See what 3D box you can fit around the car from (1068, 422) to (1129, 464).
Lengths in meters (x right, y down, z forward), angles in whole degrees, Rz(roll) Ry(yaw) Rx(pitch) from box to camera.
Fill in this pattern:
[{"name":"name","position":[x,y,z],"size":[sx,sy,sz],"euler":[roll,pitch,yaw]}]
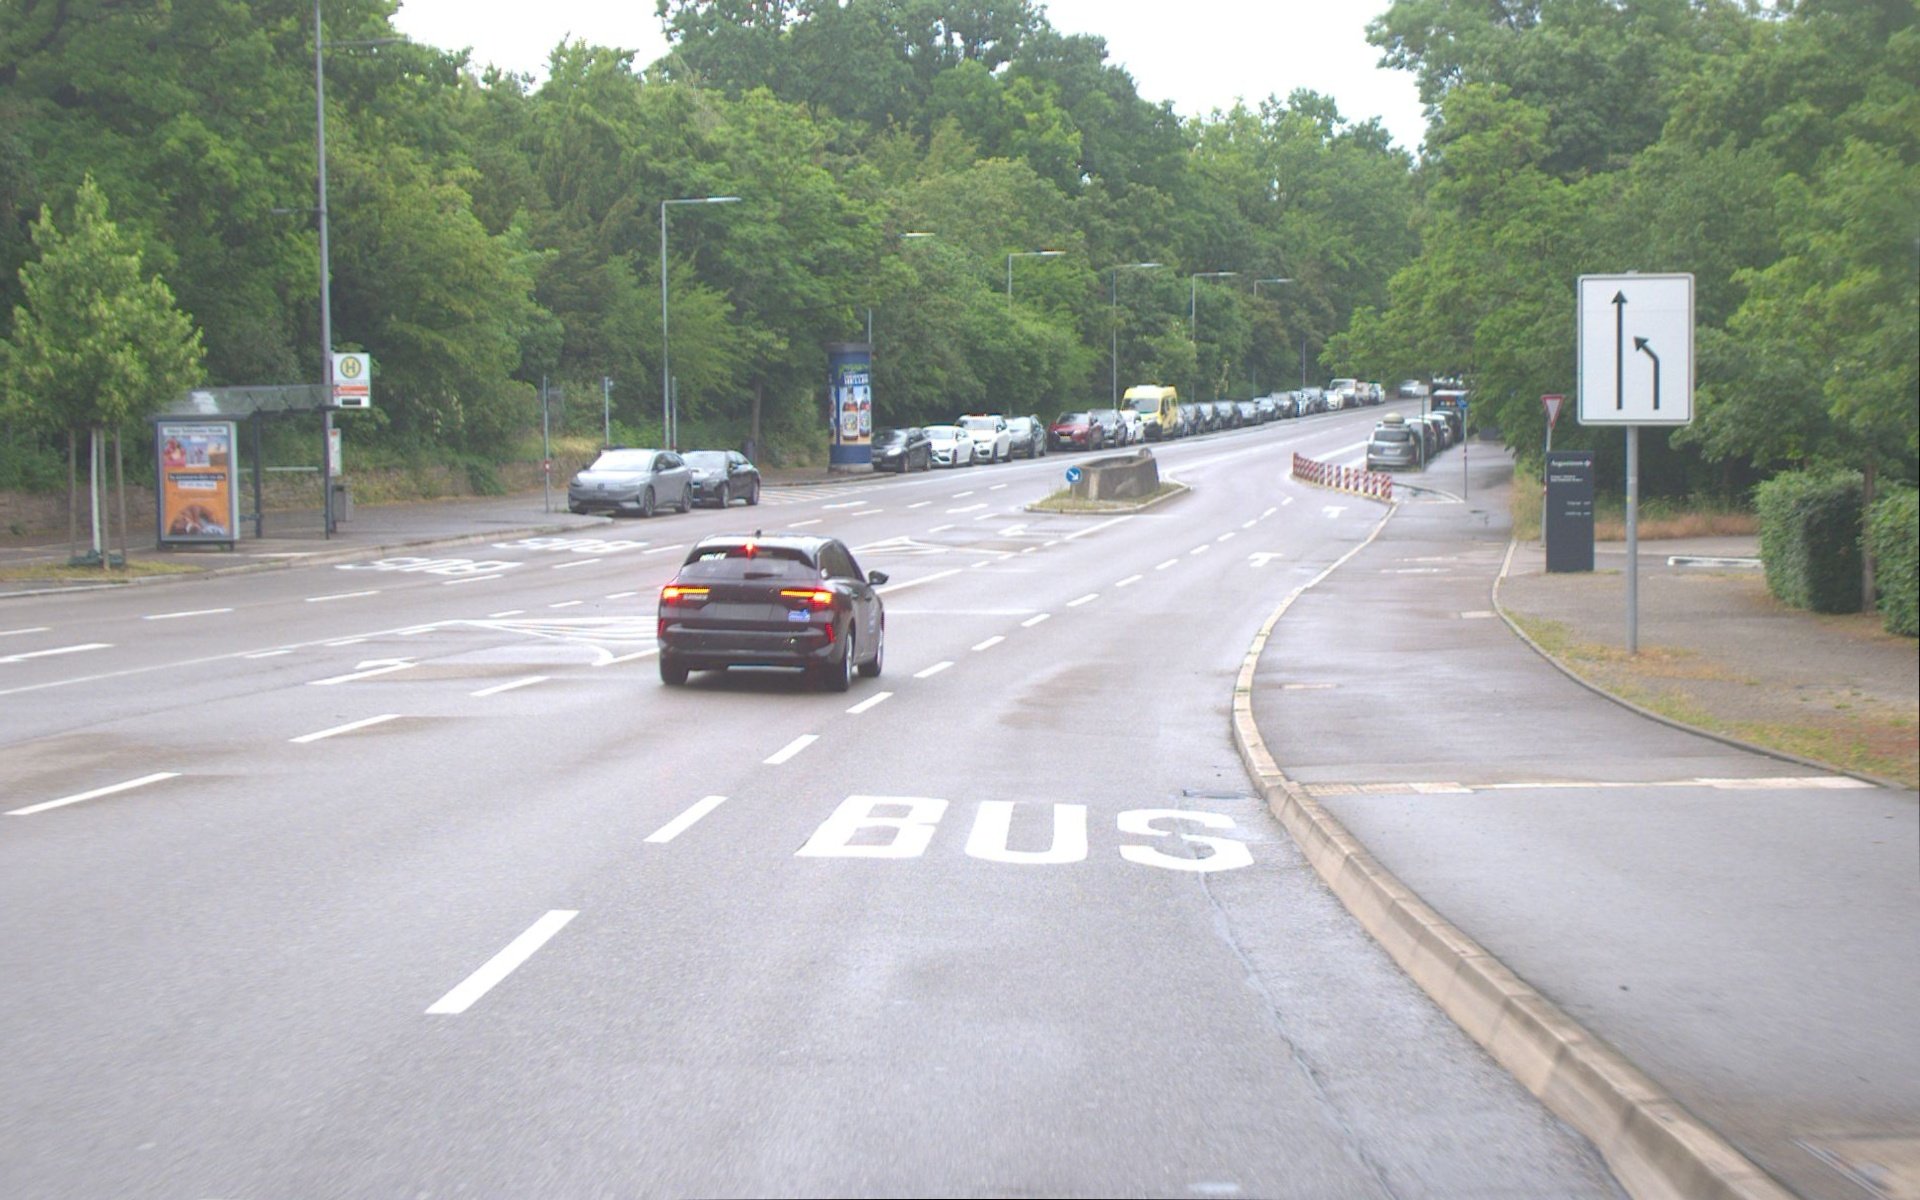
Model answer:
[{"name":"car","position":[6.082,-6.903,150.585],"size":[1.994,1.694,4.614],"euler":[1,4,11]}]

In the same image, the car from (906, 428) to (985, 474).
[{"name":"car","position":[-0.494,-5.259,120.761],"size":[1.719,1.455,4.706],"euler":[2,4,13]}]

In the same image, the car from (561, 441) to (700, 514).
[{"name":"car","position":[-7.735,-2.909,81.088],"size":[1.842,1.583,4.927],"euler":[3,3,12]}]

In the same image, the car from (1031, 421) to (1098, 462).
[{"name":"car","position":[4.403,-6.680,144.398],"size":[1.920,1.611,4.488],"euler":[1,4,13]}]

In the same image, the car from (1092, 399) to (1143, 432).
[{"name":"car","position":[7.139,-8.341,155.488],"size":[1.618,1.443,3.655],"euler":[0,4,13]}]

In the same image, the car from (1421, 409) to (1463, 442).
[{"name":"car","position":[22.846,-8.261,162.799],"size":[1.823,1.480,4.198],"euler":[0,2,10]}]

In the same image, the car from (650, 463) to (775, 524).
[{"name":"car","position":[-6.265,-2.731,87.511],"size":[1.907,1.409,4.781],"euler":[3,3,12]}]

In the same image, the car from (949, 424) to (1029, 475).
[{"name":"car","position":[1.096,-5.592,127.181],"size":[1.995,1.759,4.958],"euler":[2,4,12]}]

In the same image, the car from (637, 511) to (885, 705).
[{"name":"car","position":[-1.848,0.024,33.032],"size":[1.881,1.460,4.001],"euler":[3,5,3]}]

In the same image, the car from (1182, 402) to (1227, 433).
[{"name":"car","position":[12.689,-9.485,178.266],"size":[1.604,1.504,3.975],"euler":[2,4,14]}]

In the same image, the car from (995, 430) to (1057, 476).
[{"name":"car","position":[2.599,-5.751,134.526],"size":[1.732,1.643,4.570],"euler":[2,4,10]}]

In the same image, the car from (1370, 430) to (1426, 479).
[{"name":"car","position":[15.434,-5.138,121.068],"size":[1.822,1.609,4.251],"euler":[2,4,8]}]

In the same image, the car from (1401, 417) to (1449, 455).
[{"name":"car","position":[20.080,-7.096,148.275],"size":[1.660,1.460,3.899],"euler":[4,5,12]}]

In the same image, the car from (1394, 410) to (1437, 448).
[{"name":"car","position":[18.773,-7.063,141.727],"size":[1.560,1.455,3.675],"euler":[2,4,10]}]

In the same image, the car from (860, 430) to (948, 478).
[{"name":"car","position":[-1.861,-4.924,115.581],"size":[1.750,1.440,4.584],"euler":[2,4,15]}]

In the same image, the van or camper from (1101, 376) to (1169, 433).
[{"name":"van or camper","position":[8.289,-9.264,162.481],"size":[2.145,2.618,5.680],"euler":[1,4,14]}]

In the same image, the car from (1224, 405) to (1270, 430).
[{"name":"car","position":[15.622,-9.930,186.834],"size":[1.871,1.299,4.469],"euler":[2,4,13]}]
